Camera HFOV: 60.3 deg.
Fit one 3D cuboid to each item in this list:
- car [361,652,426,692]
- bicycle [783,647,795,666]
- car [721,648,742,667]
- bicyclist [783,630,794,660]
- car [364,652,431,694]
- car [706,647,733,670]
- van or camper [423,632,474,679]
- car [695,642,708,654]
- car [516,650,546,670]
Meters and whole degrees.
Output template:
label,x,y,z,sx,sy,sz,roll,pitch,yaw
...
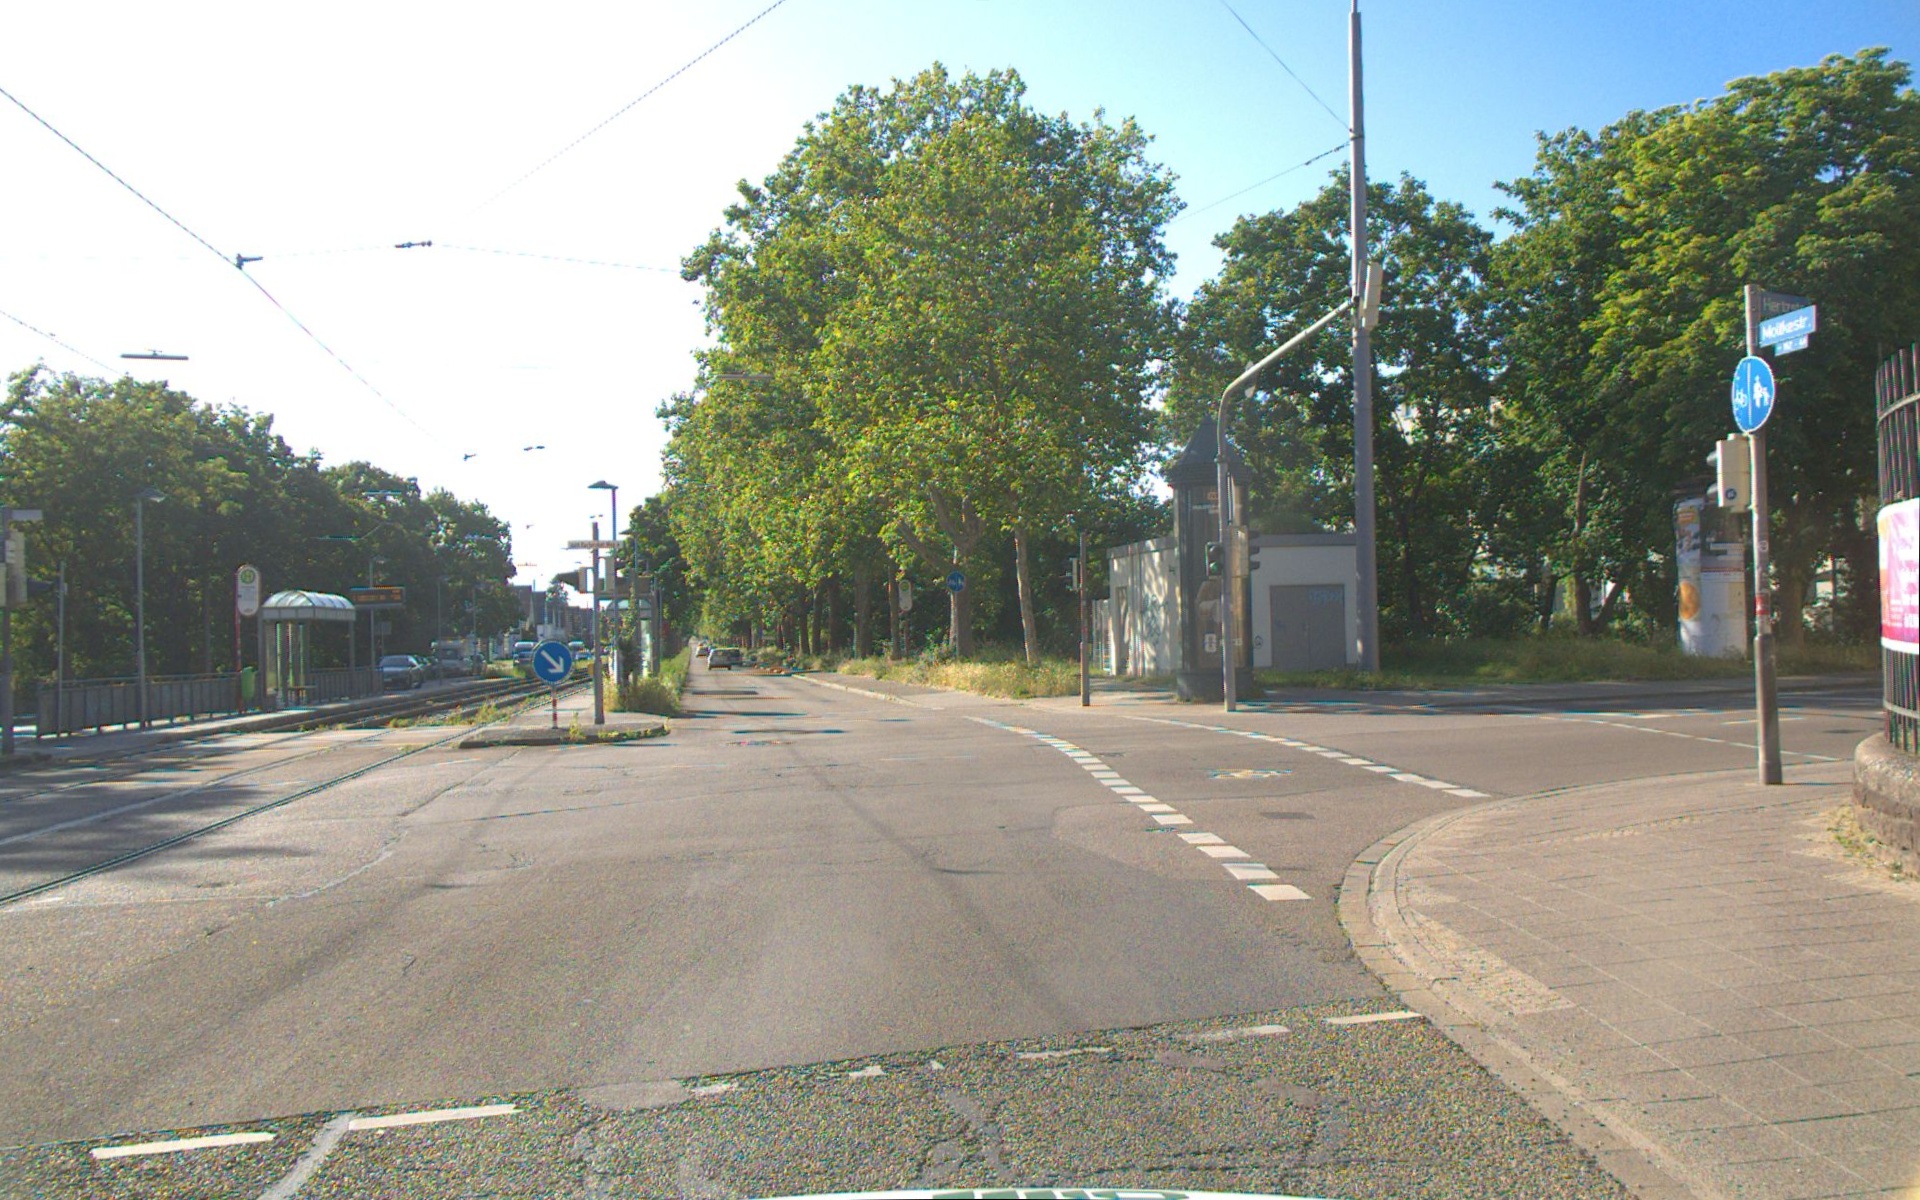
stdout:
label,x,y,z,sx,sy,sz,roll,pitch,yaw
car,-24.843,3.141,72.678,1.884,1.594,3.993,-2,-1,-8
bicycle,-10.293,3.410,99.604,0.526,1.085,1.429,-1,-1,-11
car,-19.926,4.990,144.010,1.718,1.632,3.741,-1,-1,-9
bicyclist,-10.321,2.731,99.621,0.524,1.801,0.711,-1,-2,-11
car,-21.200,2.718,62.448,1.772,1.492,3.990,-1,-2,-10
car,-16.804,4.062,115.471,1.833,1.512,3.547,-1,-2,-9
van or camper,-36.948,3.996,119.567,2.542,3.160,6.772,-2,-1,-9
car,-37.115,6.919,237.210,1.719,1.632,3.571,-2,-1,-10
car,-34.332,4.809,132.452,1.958,1.495,4.364,-1,-2,-11
